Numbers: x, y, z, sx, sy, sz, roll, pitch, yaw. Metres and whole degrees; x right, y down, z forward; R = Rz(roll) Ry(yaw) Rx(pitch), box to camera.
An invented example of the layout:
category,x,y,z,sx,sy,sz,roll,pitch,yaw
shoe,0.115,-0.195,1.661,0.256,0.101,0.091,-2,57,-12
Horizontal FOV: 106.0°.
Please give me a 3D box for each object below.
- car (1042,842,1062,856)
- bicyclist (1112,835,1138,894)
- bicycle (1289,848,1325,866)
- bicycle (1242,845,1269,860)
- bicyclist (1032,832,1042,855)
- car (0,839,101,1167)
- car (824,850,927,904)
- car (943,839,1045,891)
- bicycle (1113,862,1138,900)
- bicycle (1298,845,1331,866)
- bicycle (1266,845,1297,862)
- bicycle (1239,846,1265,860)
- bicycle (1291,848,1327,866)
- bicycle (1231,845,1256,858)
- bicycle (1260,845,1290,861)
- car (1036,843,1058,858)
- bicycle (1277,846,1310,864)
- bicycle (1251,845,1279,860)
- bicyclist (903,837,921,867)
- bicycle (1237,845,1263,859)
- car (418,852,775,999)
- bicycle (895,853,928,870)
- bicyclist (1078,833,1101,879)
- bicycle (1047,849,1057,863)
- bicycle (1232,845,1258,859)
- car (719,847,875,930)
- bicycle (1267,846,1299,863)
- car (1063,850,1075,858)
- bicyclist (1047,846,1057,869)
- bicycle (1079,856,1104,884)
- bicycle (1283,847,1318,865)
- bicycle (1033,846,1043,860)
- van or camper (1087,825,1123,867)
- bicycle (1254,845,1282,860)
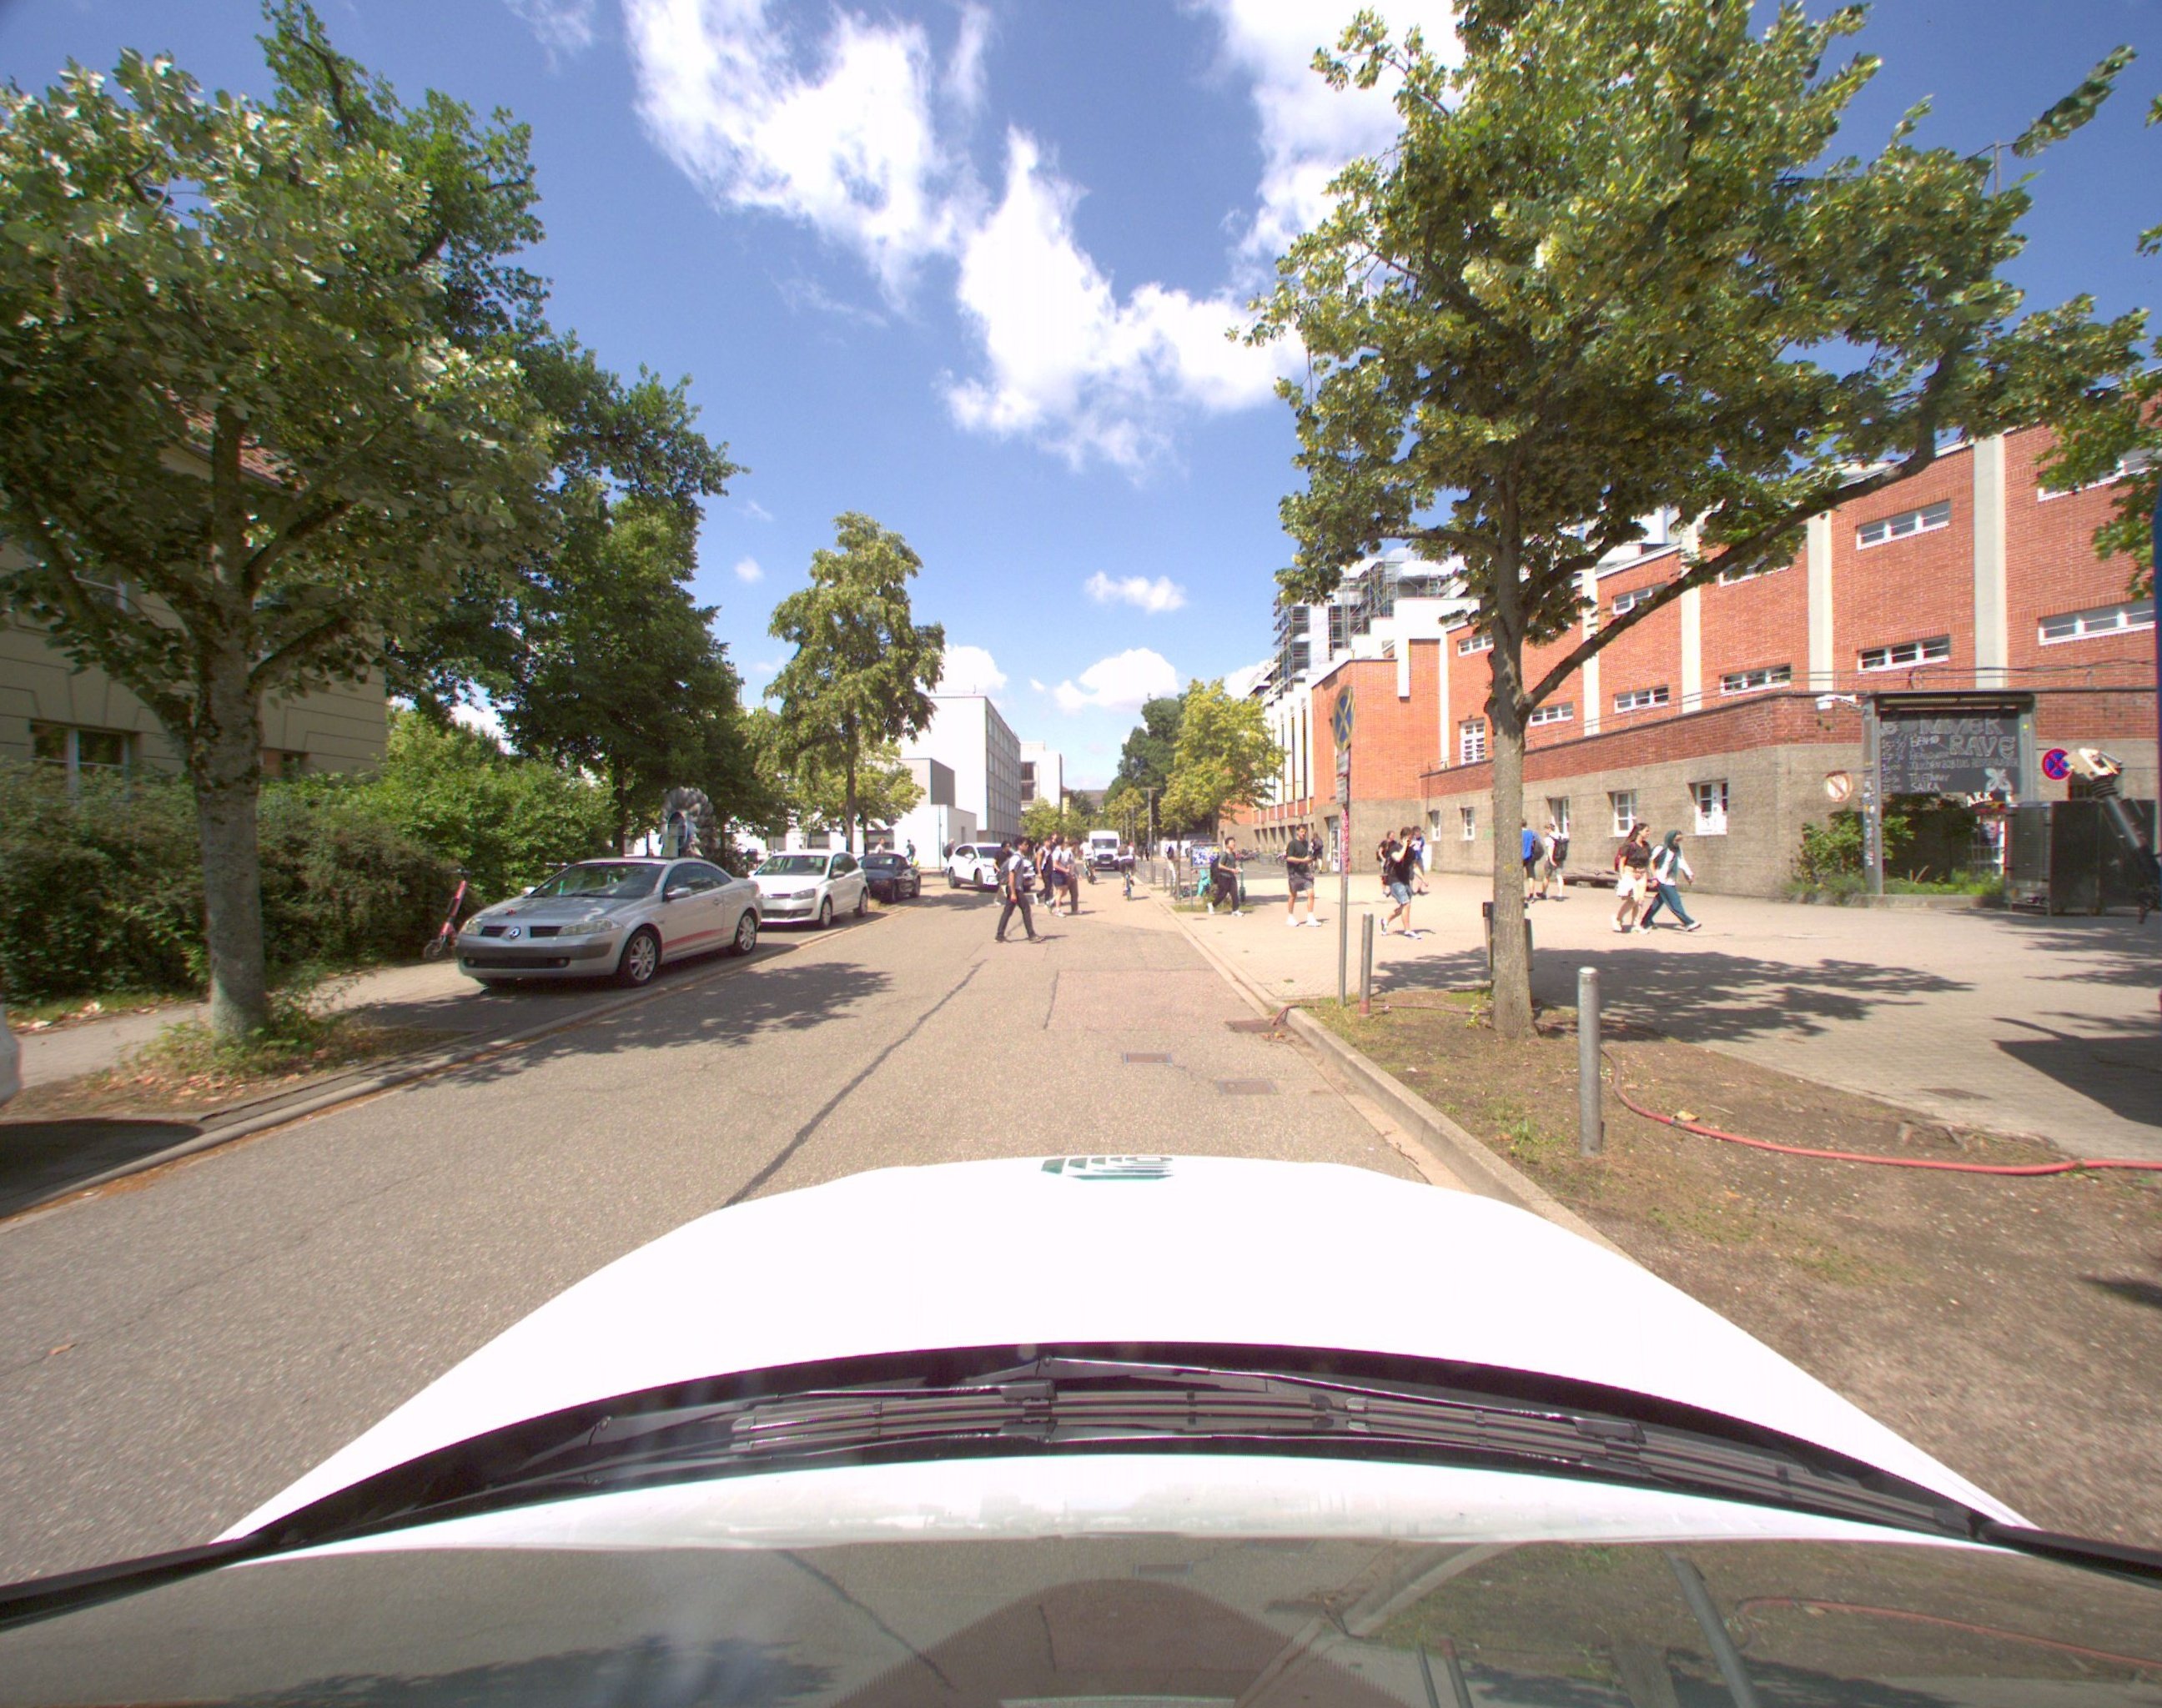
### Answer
category,x,y,z,sx,sy,sz,roll,pitch,yaw
car,-3.362,-0.579,95.114,1.787,1.530,4.006,-1,1,5
bicyclist,1.275,0.286,23.603,0.714,1.662,1.096,-1,0,2
bicycle,12.407,0.142,44.816,1.803,0.912,0.560,-2,0,0
bicycle,12.642,-0.117,59.111,1.803,0.985,0.560,-2,0,0
bicyclist,-3.172,-0.773,58.812,0.641,1.601,0.909,-2,0,-1
car,-5.652,0.666,1.674,1.720,1.456,4.582,1,0,-1
car,-5.500,0.565,22.307,1.638,1.300,3.930,-1,1,2
car,-3.074,0.331,27.937,1.929,1.619,4.480,2,0,-28
bicycle,1.293,0.751,23.680,0.703,0.993,1.912,0,1,3
bicycle,12.081,0.086,42.090,1.530,1.033,0.560,-2,0,0
bicycle,12.827,-0.017,52.194,1.803,0.985,0.560,-2,0,0
bicycle,12.571,-0.097,59.941,1.803,0.985,0.560,-2,0,0
bicycle,12.313,0.161,44.022,1.803,0.912,0.560,-2,0,0
bicycle,12.770,-0.192,63.915,1.803,0.985,0.560,-2,0,0
bicycle,12.859,-0.057,54.025,1.803,0.985,0.560,-2,0,0
car,-3.668,-0.367,87.702,1.787,1.530,4.006,-1,1,5
bicycle,12.527,0.060,48.045,1.803,0.985,0.560,-2,0,0
bicycle,12.954,-0.090,57.253,1.803,0.985,0.560,-2,0,0
bicyclist,-9.829,-0.103,47.405,0.684,1.756,0.816,0,0,42
bicycle,12.565,-0.132,60.647,1.803,0.985,0.560,-2,0,0
car,-5.487,0.690,9.981,1.718,1.343,4.168,1,1,3
bicycle,-9.916,0.417,47.471,2.097,1.002,0.816,0,0,43
bicyclist,0.346,0.066,32.625,0.769,1.756,0.847,-4,1,-3
bicycle,-2.143,0.163,60.604,0.675,0.964,2.002,-2,1,-1
bicycle,12.679,-0.174,62.983,1.803,0.985,0.560,-2,0,0
car,-5.377,0.579,15.958,1.656,1.411,3.808,1,1,1
bicycle,12.413,0.038,50.006,1.803,0.985,0.560,-2,0,0
car,-2.205,0.006,154.128,1.787,1.530,4.006,-1,1,5
bicyclist,-2.158,0.247,60.591,0.665,1.681,0.992,-2,0,-1
bicycle,0.399,0.626,32.592,0.807,1.002,2.121,-2,1,-3
bicycle,12.471,0.115,46.282,1.803,0.912,0.560,-2,0,0
bicycle,-3.094,-0.085,58.839,0.675,0.965,2.002,0,1,-1
van or camper,1.562,-0.476,50.830,1.985,2.445,4.574,-1,0,4
bicycle,13.023,-0.094,56.644,1.803,0.985,0.560,-2,0,0
